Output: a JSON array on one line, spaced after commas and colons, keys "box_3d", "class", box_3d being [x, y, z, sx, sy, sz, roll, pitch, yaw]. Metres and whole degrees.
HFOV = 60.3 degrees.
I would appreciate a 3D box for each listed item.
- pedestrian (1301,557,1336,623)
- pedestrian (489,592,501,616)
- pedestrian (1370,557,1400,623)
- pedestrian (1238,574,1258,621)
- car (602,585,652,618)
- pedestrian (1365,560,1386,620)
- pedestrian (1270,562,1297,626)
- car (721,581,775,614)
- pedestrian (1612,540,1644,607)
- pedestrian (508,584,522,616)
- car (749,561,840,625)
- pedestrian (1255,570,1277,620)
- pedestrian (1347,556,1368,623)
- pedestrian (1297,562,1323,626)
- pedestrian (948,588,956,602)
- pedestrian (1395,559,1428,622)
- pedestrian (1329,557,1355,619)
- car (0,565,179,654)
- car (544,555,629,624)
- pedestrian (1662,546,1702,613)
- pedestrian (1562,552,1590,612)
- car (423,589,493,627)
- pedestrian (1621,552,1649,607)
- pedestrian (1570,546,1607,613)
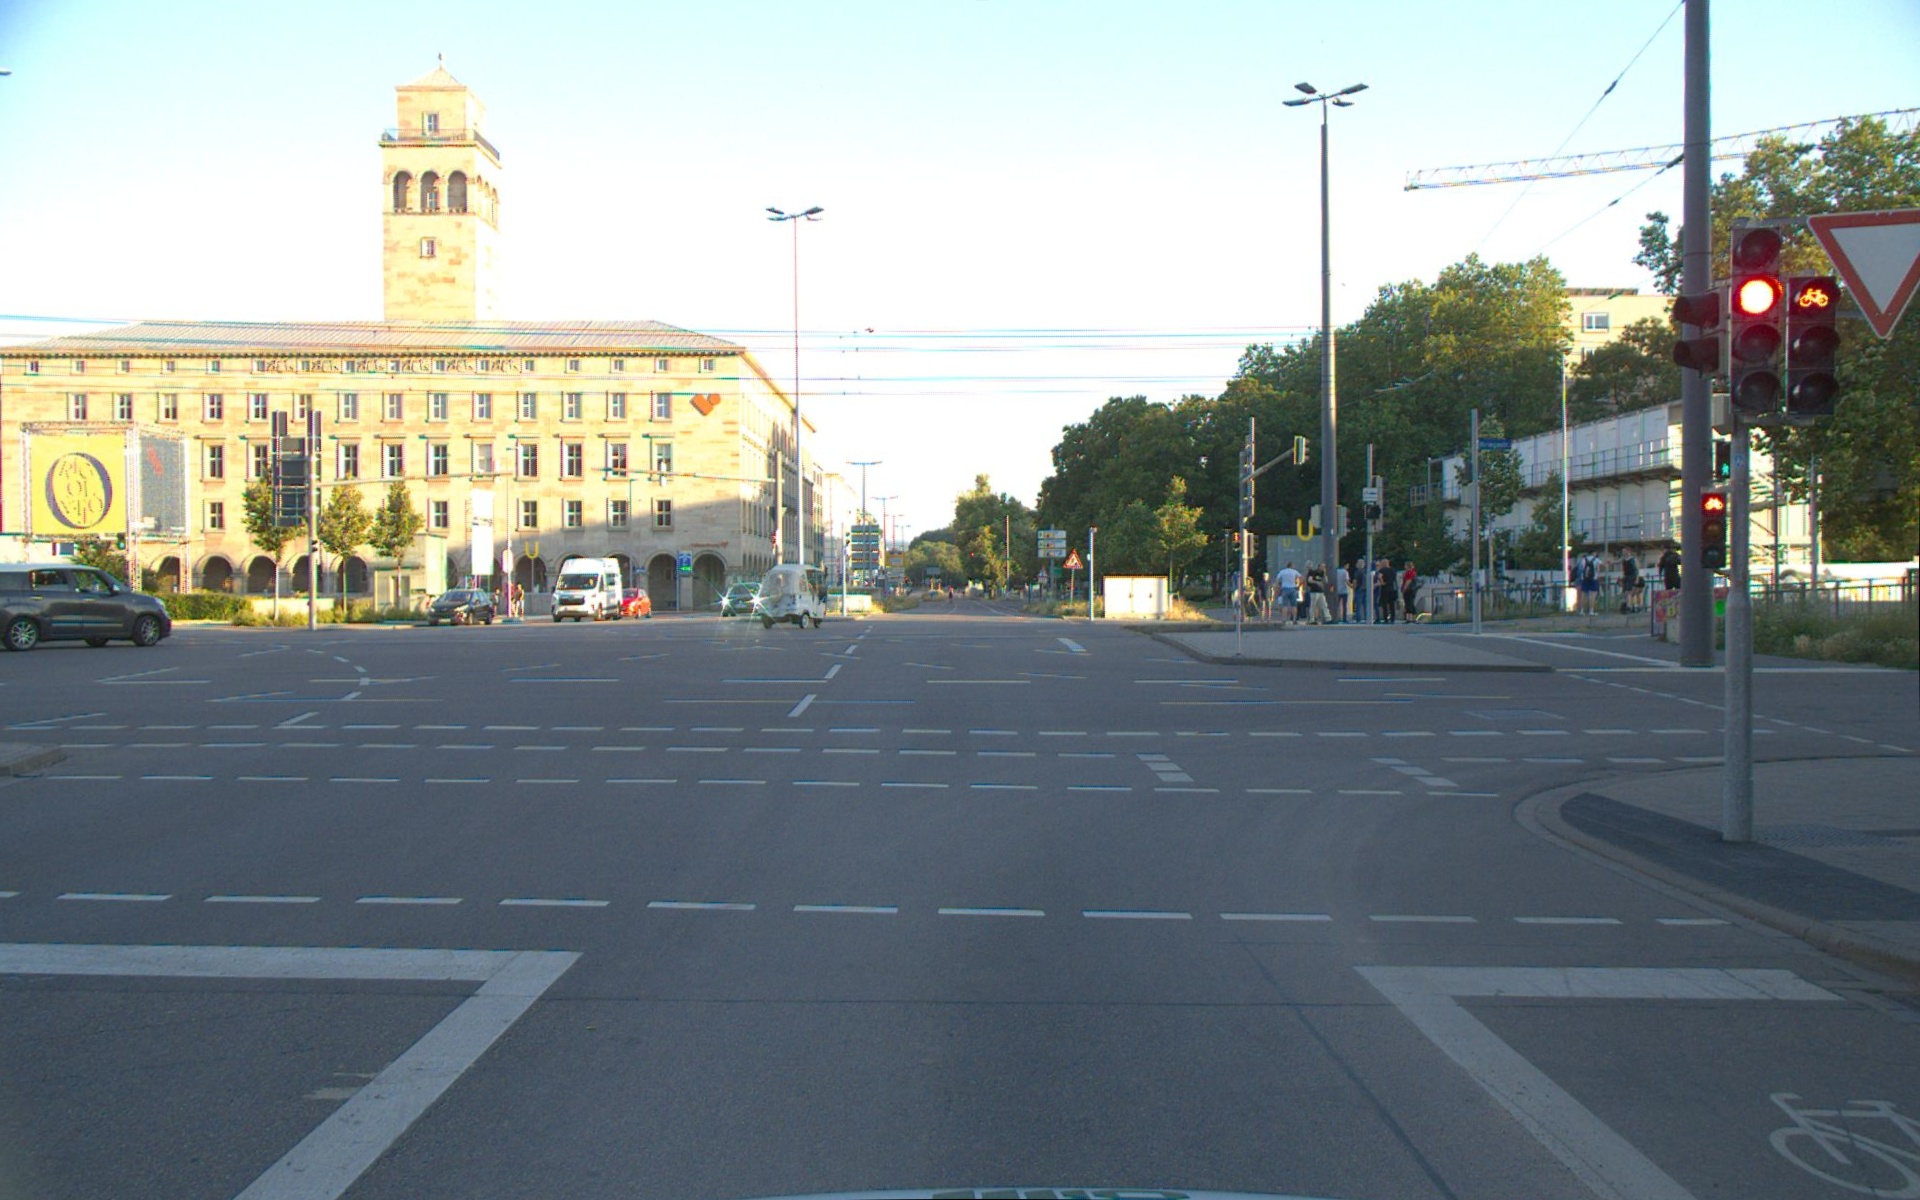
[{"box_3d": [9.736, -0.273, 44.908, 0.893, 1.755, 0.713, 0, 1, 17], "class": "pedestrian"}, {"box_3d": [-25.490, 0.213, 90.584, 0.496, 1.323, 0.700, 1, -1, -6], "class": "pedestrian"}, {"box_3d": [11.775, -0.284, 45.851, 0.788, 1.822, 0.801, 0, 1, 13], "class": "pedestrian"}, {"box_3d": [10.590, -0.100, 60.810, 0.548, 1.683, 0.902, 0, 1, 20], "class": "pedestrian"}, {"box_3d": [-16.276, 0.064, 80.926, 1.703, 1.513, 4.000, -1, 1, -1], "class": "car"}, {"box_3d": [11.889, -0.288, 47.306, 0.560, 1.708, 0.639, 0, 1, 13], "class": "pedestrian"}, {"box_3d": [9.014, -0.177, 46.027, 0.695, 1.755, 0.669, 0, 1, 14], "class": "pedestrian"}, {"box_3d": [-9.253, -0.143, 72.487, 1.785, 1.365, 4.001, 0, 1, 1], "class": "car"}, {"box_3d": [17.622, -0.695, 43.630, 0.696, 1.755, 0.669, 0, 1, 16], "class": "pedestrian"}, {"box_3d": [-24.601, 0.016, 91.430, 0.609, 1.774, 0.459, 1, -1, -6], "class": "pedestrian"}, {"box_3d": [-4.656, -0.214, 46.807, 1.452, 1.725, 2.975, 0, 1, 18], "class": "car"}, {"box_3d": [11.231, -0.187, 60.708, 0.665, 1.788, 0.902, 0, 1, 20], "class": "pedestrian"}, {"box_3d": [11.013, -0.297, 45.812, 0.560, 1.822, 0.639, 0, 1, 13], "class": "pedestrian"}, {"box_3d": [9.726, -0.165, 45.925, 0.695, 1.755, 0.669, 0, 1, 13], "class": "pedestrian"}, {"box_3d": [-0.995, -0.605, 194.634, 0.888, 1.700, 1.306, -1, 1, -2], "class": "pedestrian"}, {"box_3d": [12.609, -0.268, 46.199, 0.826, 1.764, 0.706, 0, 1, 11], "class": "pedestrian"}, {"box_3d": [10.790, -0.344, 46.694, 0.695, 1.755, 0.916, 0, 1, 13], "class": "pedestrian"}, {"box_3d": [-17.658, 0.150, 32.350, 1.705, 1.632, 4.129, 0, 1, 28], "class": "car"}, {"box_3d": [-16.243, -0.481, 72.232, 2.232, 2.824, 6.085, -1, 1, 1], "class": "car"}, {"box_3d": [18.924, -0.543, 43.359, 0.657, 1.755, 0.708, -1, 1, -22], "class": "pedestrian"}, {"box_3d": [16.806, -0.496, 45.108, 0.559, 1.620, 0.536, -1, 0, -1], "class": "pedestrian"}, {"box_3d": [-21.150, 0.323, 69.827, 1.786, 1.491, 4.156, -1, 1, -2], "class": "car"}, {"box_3d": [18.072, -0.550, 44.276, 0.662, 1.466, 0.714, 0, 1, 21], "class": "pedestrian"}, {"box_3d": [16.629, -0.537, 43.775, 0.654, 1.755, 0.712, -1, 1, -8], "class": "pedestrian"}]
